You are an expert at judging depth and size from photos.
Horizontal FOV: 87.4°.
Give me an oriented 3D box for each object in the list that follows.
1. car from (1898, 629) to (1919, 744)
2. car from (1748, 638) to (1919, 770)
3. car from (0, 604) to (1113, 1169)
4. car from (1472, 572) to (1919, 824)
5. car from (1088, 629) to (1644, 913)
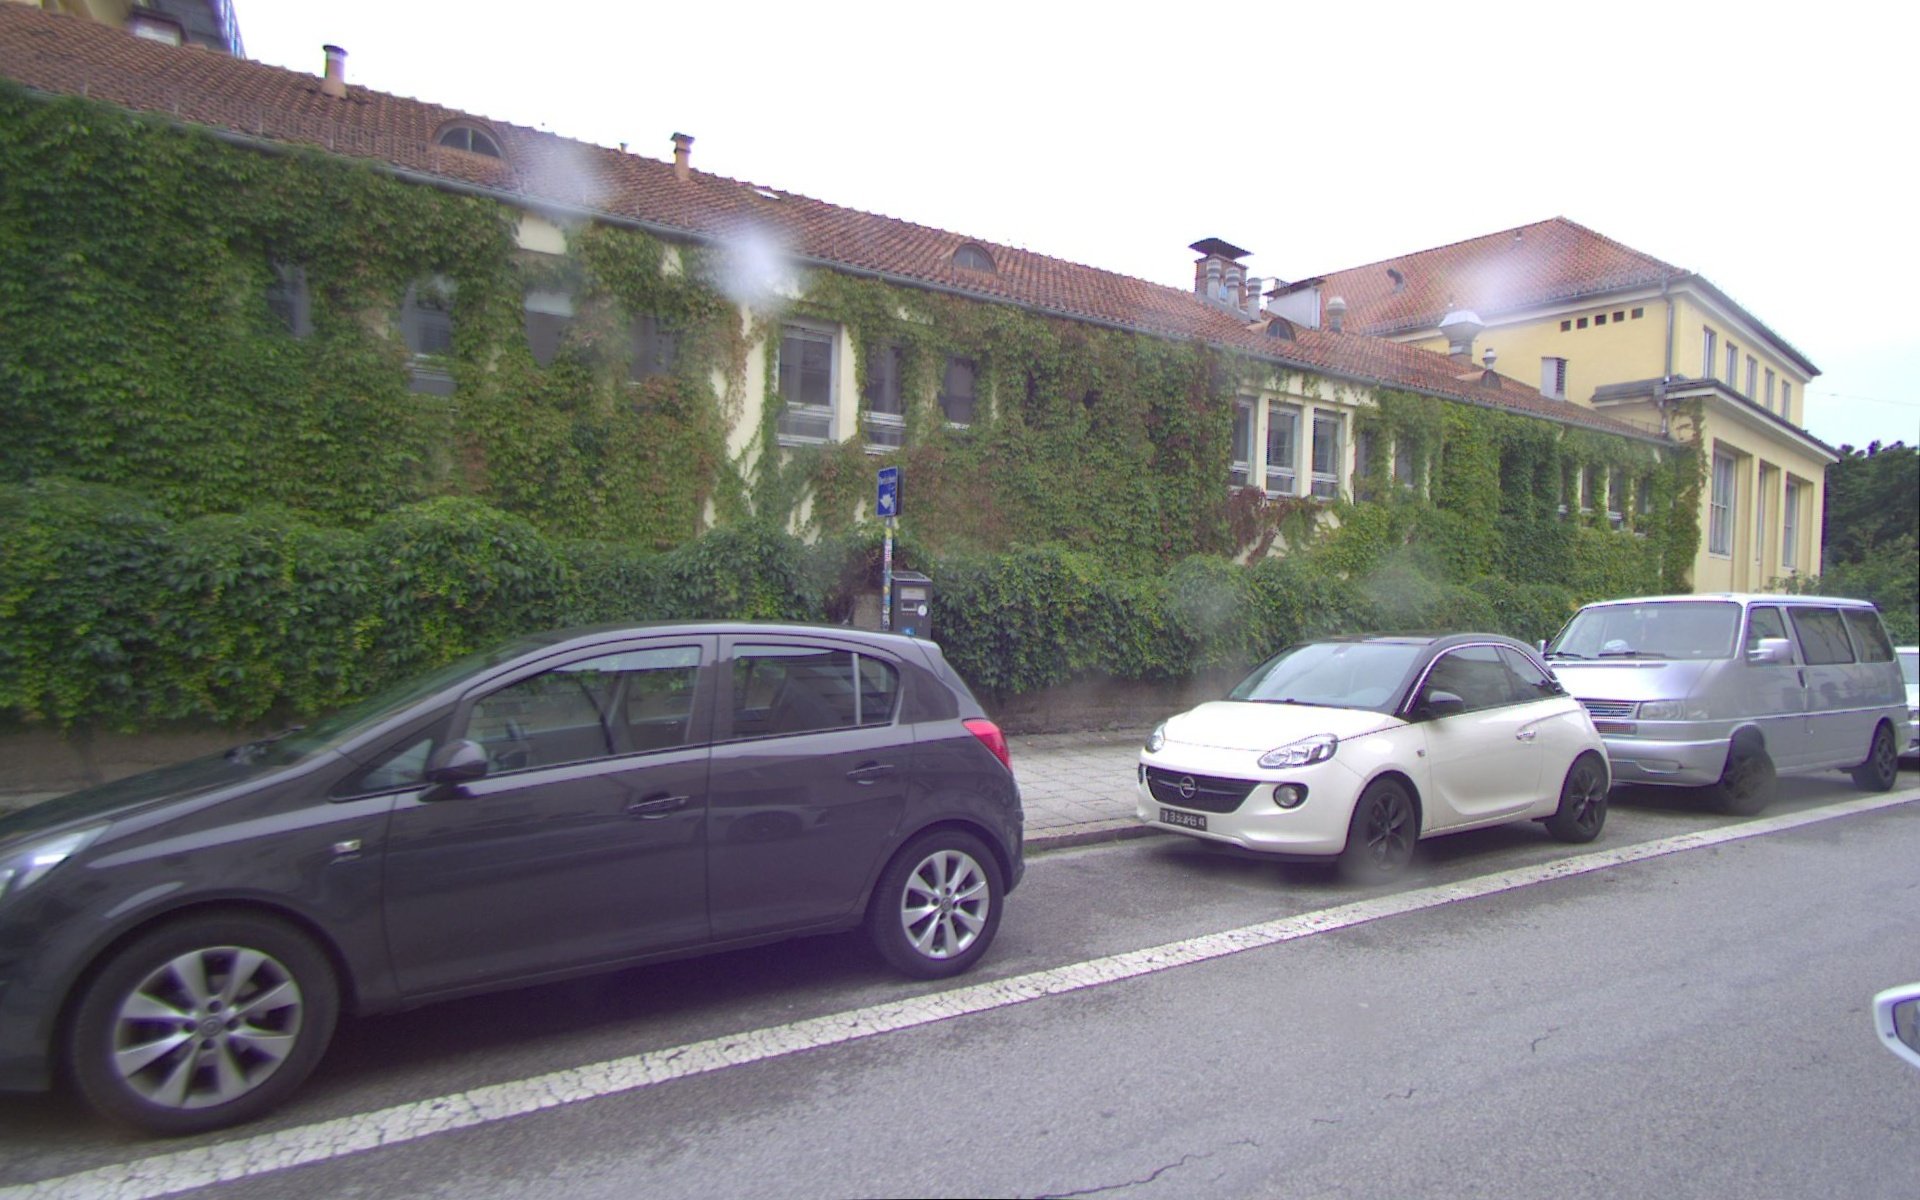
[{"bbox_3d":[16.110,1.287,15.228,4.441,1.664,1.688,2,-2,-32],"label":"car"},{"bbox_3d":[12.089,1.221,12.784,4.716,1.433,1.645,2,-3,-31],"label":"car"},{"bbox_3d":[-1.485,0.811,4.177,4.205,1.449,1.595,2,-3,-32],"label":"car"},{"bbox_3d":[7.240,0.835,9.668,4.718,1.914,1.878,2,-3,-30],"label":"car"},{"bbox_3d":[2.913,0.950,6.941,3.975,1.460,1.582,2,-2,-33],"label":"car"}]
